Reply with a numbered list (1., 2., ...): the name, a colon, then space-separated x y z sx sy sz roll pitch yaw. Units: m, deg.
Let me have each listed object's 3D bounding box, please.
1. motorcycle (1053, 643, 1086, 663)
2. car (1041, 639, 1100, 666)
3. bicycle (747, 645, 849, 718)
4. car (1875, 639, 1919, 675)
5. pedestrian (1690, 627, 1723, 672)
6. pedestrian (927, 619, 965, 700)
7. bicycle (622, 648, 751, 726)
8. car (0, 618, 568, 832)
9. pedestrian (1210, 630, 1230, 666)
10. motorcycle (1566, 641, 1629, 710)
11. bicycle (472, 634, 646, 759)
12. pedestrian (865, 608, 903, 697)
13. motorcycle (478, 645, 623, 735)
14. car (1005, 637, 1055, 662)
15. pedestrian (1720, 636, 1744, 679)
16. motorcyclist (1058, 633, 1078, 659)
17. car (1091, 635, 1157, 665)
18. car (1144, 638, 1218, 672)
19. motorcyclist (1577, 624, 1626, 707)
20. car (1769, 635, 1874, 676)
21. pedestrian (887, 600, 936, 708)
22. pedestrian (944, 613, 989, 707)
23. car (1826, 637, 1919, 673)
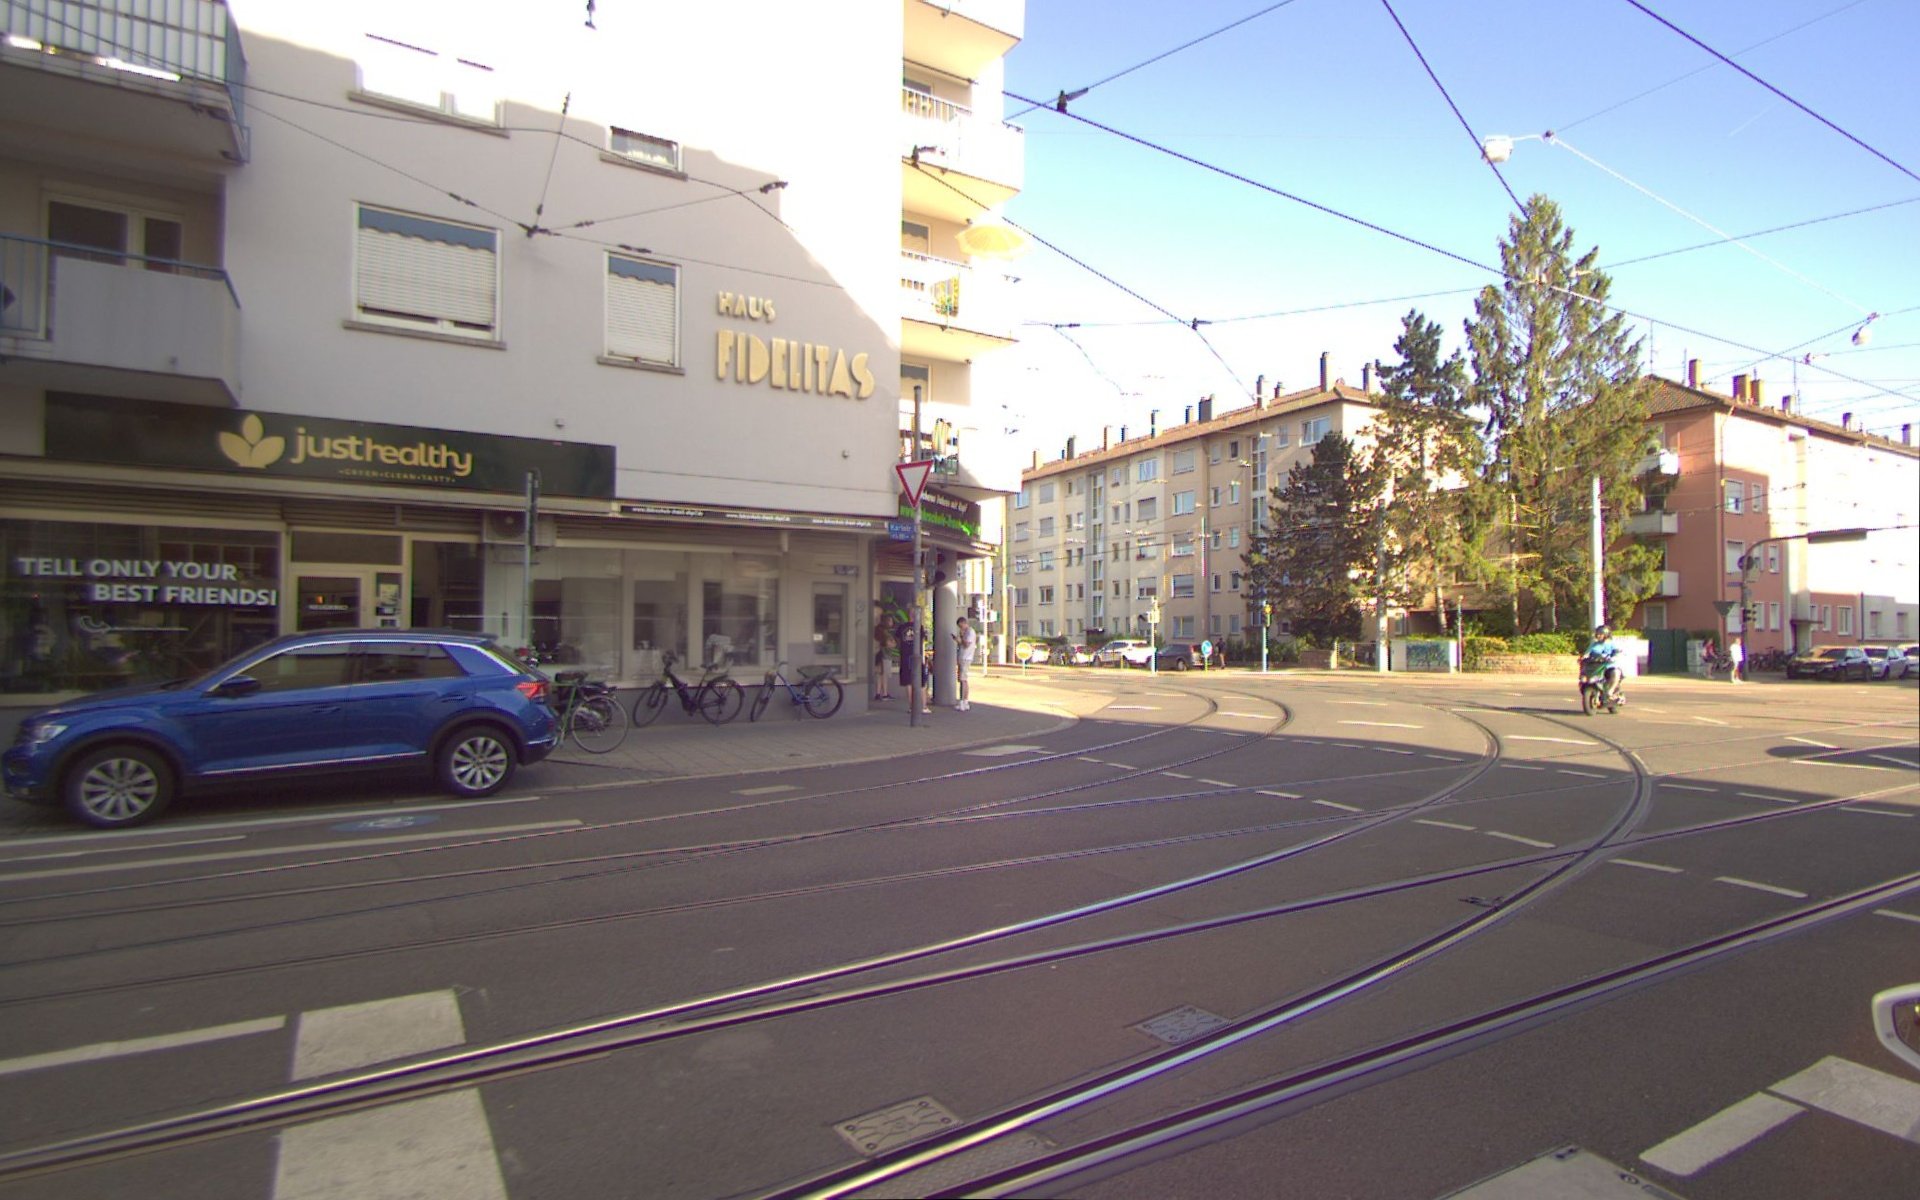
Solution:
1. motorcycle: 6.305 3.059 58.146 0.849 1.060 1.923 2 0 -34
2. car: 7.127 3.390 65.165 1.813 1.497 4.000 2 -1 -30
3. bicycle: -2.632 1.308 16.374 1.520 1.121 0.548 2 0 -29
4. car: 44.965 2.672 47.243 4.181 1.546 1.733 2 0 -31
5. pedestrian: 29.784 1.982 40.079 0.768 1.744 0.705 1 0 9
6. pedestrian: -0.299 1.277 21.477 0.687 1.672 0.760 3 -5 -6
7. bicycle: -4.144 1.298 15.262 1.776 1.103 0.604 2 0 -31
8. car: -5.981 0.963 9.234 4.192 1.524 1.758 0 1 -33
9. pedestrian: 14.165 2.599 54.780 0.691 1.911 0.775 2 0 -26
10. motorcycle: 12.037 1.415 18.936 0.704 1.236 1.956 -1 -4 41
11. bicycle: -4.620 1.078 11.618 1.776 1.332 0.604 2 0 -31
12. pedestrian: -1.638 1.124 21.596 0.592 1.880 0.514 2 0 -34
13. motorcycle: -5.662 1.216 13.917 1.776 1.149 0.604 2 0 -31
14. car: 4.860 3.440 70.059 1.642 1.578 3.760 2 0 -29
15. pedestrian: 29.225 2.172 38.027 0.567 1.589 0.514 2 0 -30
16. motorcyclist: 6.267 2.667 58.225 0.849 1.508 0.722 2 0 -35
17. car: 9.804 2.984 60.381 1.753 1.619 4.000 2 0 -30
18. car: 12.199 3.010 55.636 1.847 1.650 4.046 2 0 -26
19. motorcyclist: 12.166 1.234 19.046 0.685 1.516 0.681 -1 -3 42
20. car: 36.034 2.322 41.996 4.392 1.450 2.142 4 -2 -32
21. pedestrian: -0.898 0.995 18.437 0.726 1.925 0.573 3 -2 -13
22. pedestrian: 0.131 1.180 19.957 0.652 1.816 0.733 1 -1 -24
23. car: 40.606 2.421 44.683 4.053 1.455 1.895 2 0 -29
